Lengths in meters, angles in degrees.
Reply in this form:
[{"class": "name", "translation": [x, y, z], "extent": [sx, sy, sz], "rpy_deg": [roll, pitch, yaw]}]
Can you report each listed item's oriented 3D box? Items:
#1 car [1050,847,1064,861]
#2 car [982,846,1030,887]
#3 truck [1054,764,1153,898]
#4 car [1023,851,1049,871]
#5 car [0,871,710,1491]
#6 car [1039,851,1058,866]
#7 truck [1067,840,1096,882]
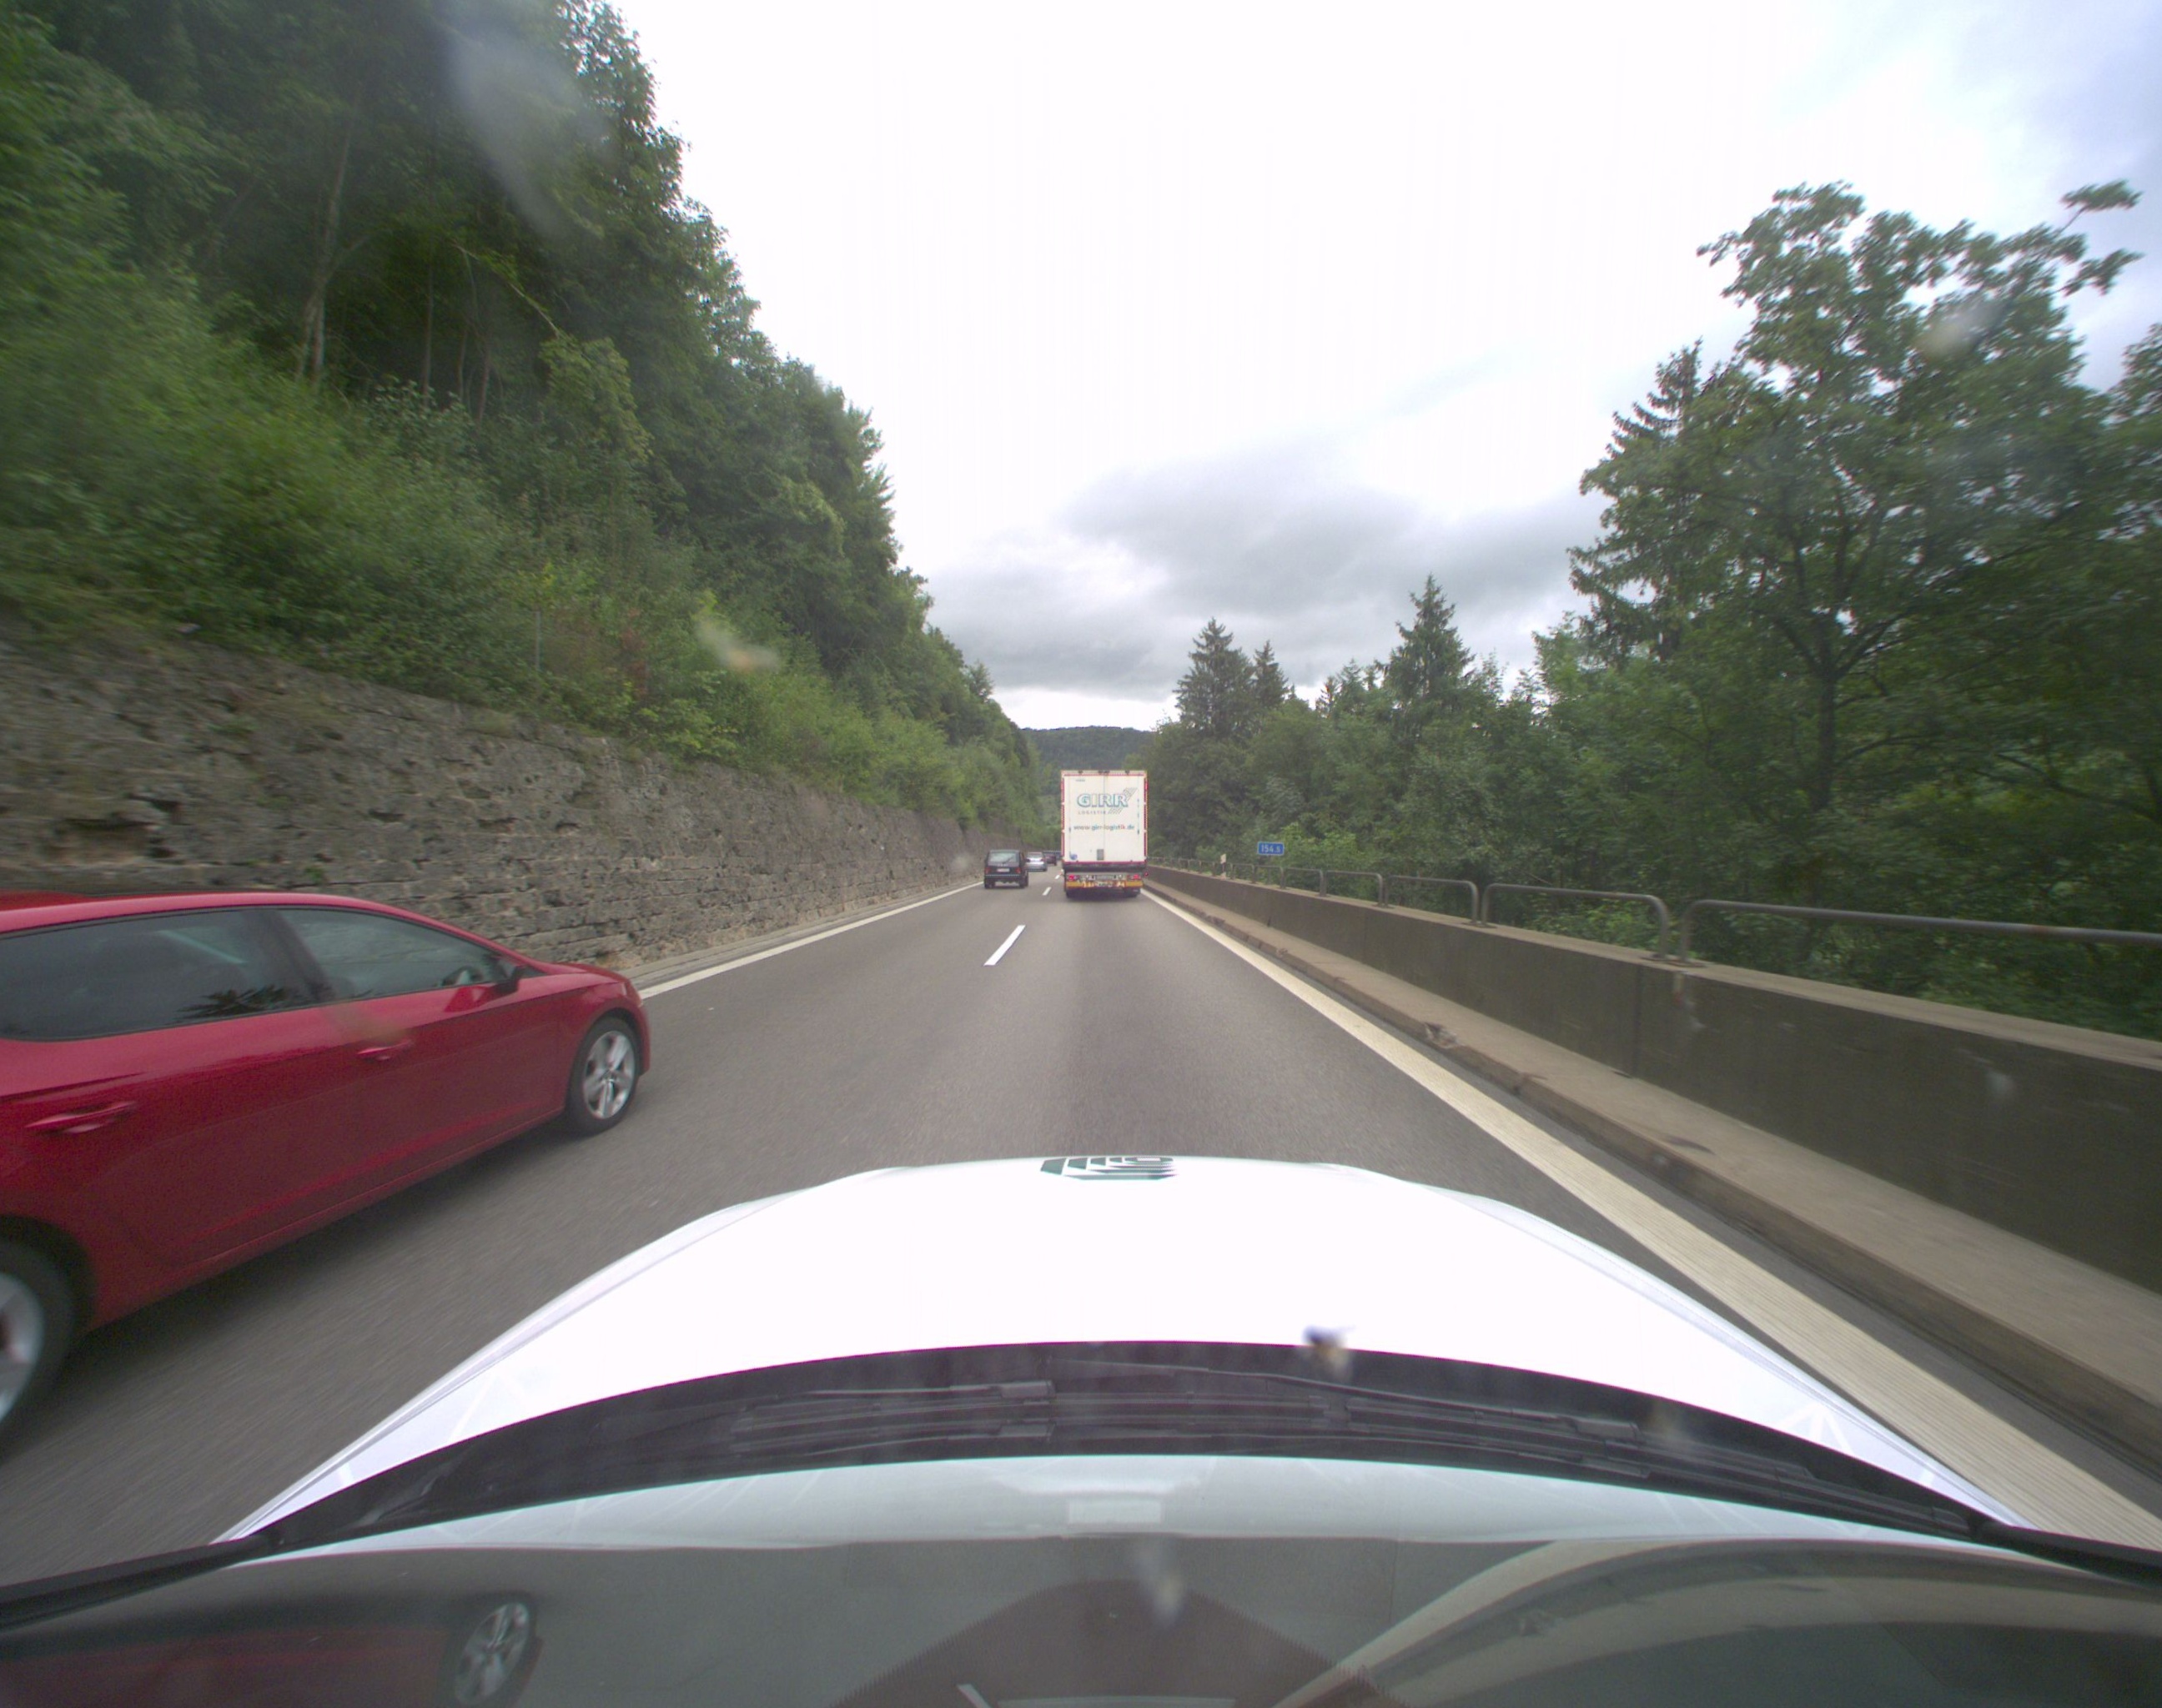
[{"class": "car", "translation": [-3.632, 0.019, 123.012], "extent": [1.986, 2.014, 4.000], "rpy_deg": [0, -1, 1]}, {"class": "car", "translation": [-3.154, 0.534, 34.853], "extent": [1.663, 1.639, 4.067], "rpy_deg": [0, 0, 0]}, {"class": "truck", "translation": [0.705, -0.670, 28.653], "extent": [2.899, 3.960, 9.278], "rpy_deg": [0, 0, 0]}, {"class": "car", "translation": [-3.445, 0.539, 62.846], "extent": [1.724, 1.486, 3.999], "rpy_deg": [0, 0, 0]}, {"class": "car", "translation": [-3.460, 0.832, 3.280], "extent": [1.759, 1.460, 4.413], "rpy_deg": [0, 0, 2]}, {"class": "car", "translation": [-3.475, 0.495, 87.439], "extent": [1.911, 1.595, 4.178], "rpy_deg": [0, 0, 0]}, {"class": "truck", "translation": [-0.013, 0.627, 73.977], "extent": [2.479, 3.571, 9.305], "rpy_deg": [0, 0, -1]}]
